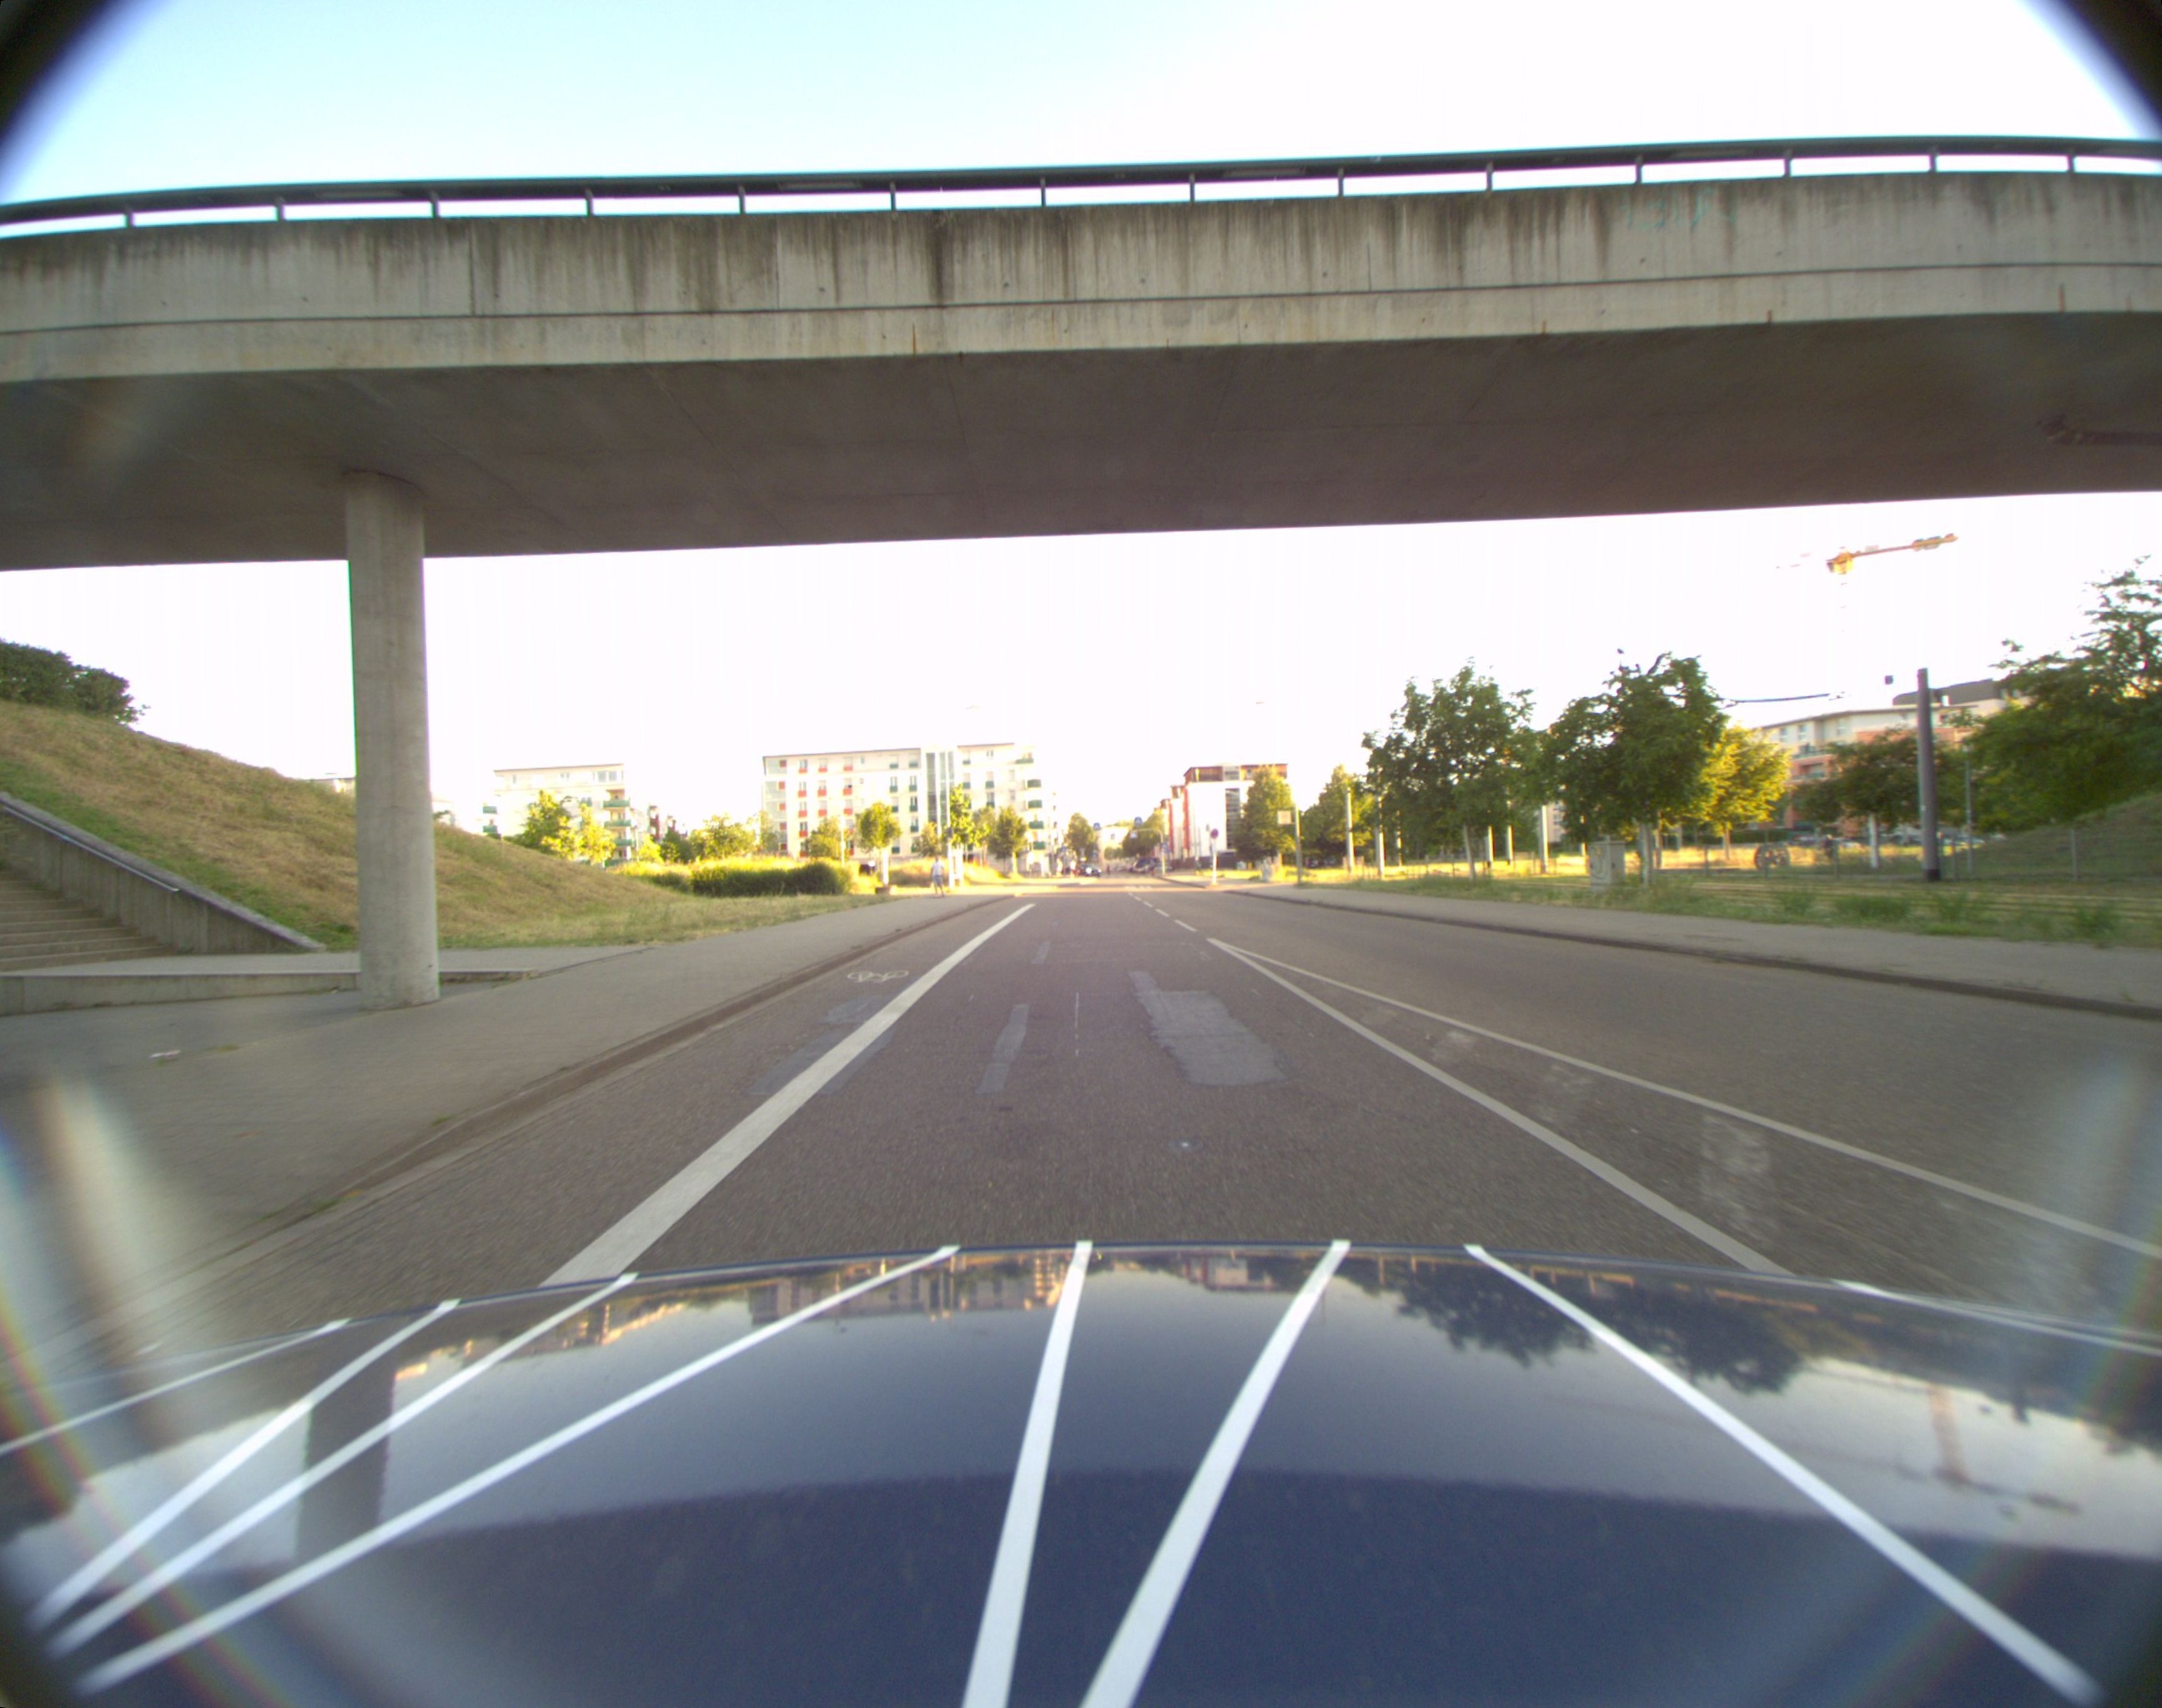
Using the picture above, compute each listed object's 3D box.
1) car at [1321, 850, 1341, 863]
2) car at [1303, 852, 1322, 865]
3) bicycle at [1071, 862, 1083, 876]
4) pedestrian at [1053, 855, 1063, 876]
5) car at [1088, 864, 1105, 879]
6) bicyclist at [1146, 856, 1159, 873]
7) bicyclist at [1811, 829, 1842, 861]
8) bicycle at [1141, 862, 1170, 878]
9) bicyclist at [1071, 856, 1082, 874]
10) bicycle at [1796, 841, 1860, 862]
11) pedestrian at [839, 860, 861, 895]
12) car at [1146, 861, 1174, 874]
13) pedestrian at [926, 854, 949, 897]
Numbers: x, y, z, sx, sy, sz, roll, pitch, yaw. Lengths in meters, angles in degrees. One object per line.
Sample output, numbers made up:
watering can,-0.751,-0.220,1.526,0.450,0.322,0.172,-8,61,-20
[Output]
car,31.195,0.311,94.908,1.942,1.521,4.004,-2,0,14
car,29.036,0.610,95.416,1.942,1.521,4.004,-2,0,14
bicycle,-0.388,1.331,68.338,0.900,1.141,3.498,-2,0,-2
pedestrian,-1.880,0.953,61.682,0.737,1.714,0.532,0,0,1
car,1.694,1.858,82.653,1.739,1.455,4.000,-2,0,1
bicyclist,7.105,1.086,75.302,0.860,1.653,0.918,-2,0,-29
bicyclist,39.248,-0.480,40.017,0.909,1.622,0.717,-2,0,-1
bicycle,7.356,1.601,75.075,1.020,1.560,3.535,-2,0,-27
bicyclist,-0.385,0.991,67.872,0.932,1.585,1.068,-2,0,-1
bicycle,39.276,-0.130,39.973,2.842,1.002,0.655,-2,0,-4
pedestrian,-10.835,1.108,35.609,0.737,1.620,0.859,0,0,2
car,11.601,1.924,112.030,3.996,1.717,2.000,-2,0,2
pedestrian,-5.832,0.867,30.969,0.737,1.714,0.906,0,0,1
